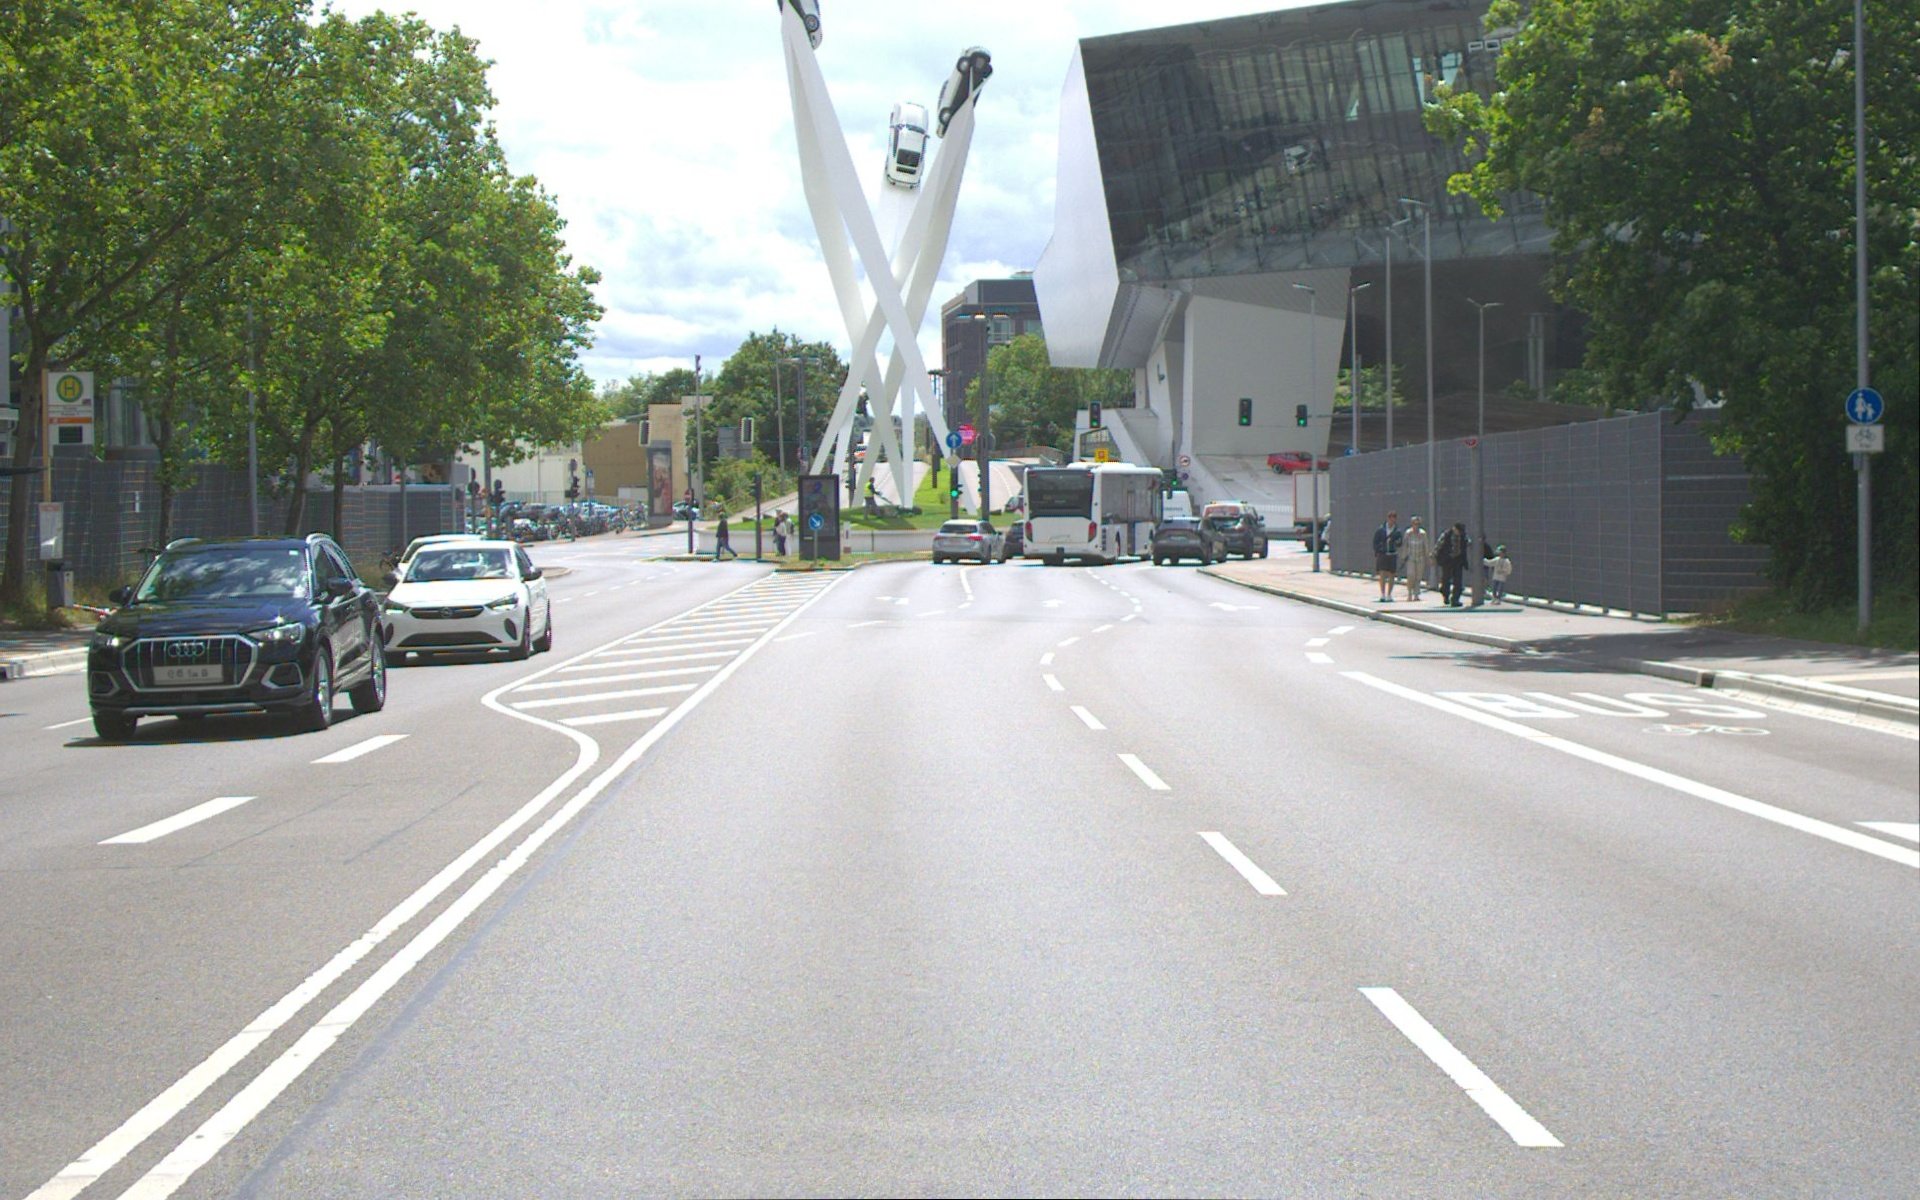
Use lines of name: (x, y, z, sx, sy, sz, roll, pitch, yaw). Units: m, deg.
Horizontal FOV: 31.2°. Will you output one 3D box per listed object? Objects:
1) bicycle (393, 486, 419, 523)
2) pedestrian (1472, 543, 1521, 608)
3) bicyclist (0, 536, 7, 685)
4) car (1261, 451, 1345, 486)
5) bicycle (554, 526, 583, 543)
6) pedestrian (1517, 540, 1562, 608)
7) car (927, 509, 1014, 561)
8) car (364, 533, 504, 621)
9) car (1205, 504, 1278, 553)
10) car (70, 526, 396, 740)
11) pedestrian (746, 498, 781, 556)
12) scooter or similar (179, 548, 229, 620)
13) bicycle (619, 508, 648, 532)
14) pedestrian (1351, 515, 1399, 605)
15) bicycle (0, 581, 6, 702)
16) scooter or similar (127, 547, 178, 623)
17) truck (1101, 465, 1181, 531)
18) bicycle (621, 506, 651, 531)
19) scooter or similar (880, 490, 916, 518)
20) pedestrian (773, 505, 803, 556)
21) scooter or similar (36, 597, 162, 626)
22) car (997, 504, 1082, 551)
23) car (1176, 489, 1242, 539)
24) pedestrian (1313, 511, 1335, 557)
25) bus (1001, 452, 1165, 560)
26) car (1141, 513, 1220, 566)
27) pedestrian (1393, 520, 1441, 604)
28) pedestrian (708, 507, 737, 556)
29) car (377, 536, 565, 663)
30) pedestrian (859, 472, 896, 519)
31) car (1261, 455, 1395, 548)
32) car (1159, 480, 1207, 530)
bicycle: (-15.118, -2.602, 93.839, 0.296, 1.002, 1.251, 1, 1, 10)
pedestrian: (9.662, -0.445, 61.906, 0.757, 1.145, 0.971, 1, 1, 3)
bicyclist: (-10.119, 0.083, 34.125, 0.955, 1.592, 1.223, -2, 1, -3)
car: (19.446, -7.485, 195.242, 1.995, 1.390, 4.511, -7, 12, -43)
bicycle: (-21.061, -3.519, 184.853, 0.492, 0.863, 1.607, 1, 4, 41)
pedestrian: (10.464, -0.475, 62.068, 0.714, 1.202, 0.598, 1, 0, 4)
car: (0.352, -2.092, 111.762, 1.995, 1.631, 3.998, 1, 1, 13)
car: (-9.859, -0.465, 64.712, 1.878, 1.500, 4.191, -2, 2, 1)
car: (9.882, -2.493, 120.563, 1.995, 1.631, 3.998, 1, 1, 13)
car: (-5.952, 0.220, 28.632, 1.740, 1.575, 4.267, -2, 1, 0)
pedestrian: (-7.029, -2.592, 122.866, 0.953, 2.048, 0.950, 1, 1, 19)
scooter or similar: (-13.667, -0.292, 62.165, 0.523, 1.230, 1.318, 3, 2, 2)
bicycle: (-18.171, -4.433, 191.340, 1.605, 1.312, 0.493, 1, 0, -1)
pedestrian: (8.001, -0.769, 66.296, 0.794, 1.715, 0.732, 1, 0, -1)
bicycle: (-10.119, 0.446, 33.959, 0.736, 1.230, 2.474, -2, 1, -2)
scooter or similar: (-13.718, -0.264, 58.430, 0.523, 1.230, 1.318, 3, 2, -1)
truck: (7.263, -4.051, 137.513, 2.208, 2.507, 5.129, 1, 1, 15)
bicycle: (-18.189, -4.587, 192.843, 1.605, 1.378, 0.493, 1, 0, -1)
scooter or similar: (-2.539, -3.956, 141.288, 1.400, 1.022, 0.550, -3, 7, -8)
pedestrian: (-6.064, -2.440, 121.275, 0.863, 1.767, 1.036, 1, 1, -14)
scooter or similar: (-14.263, 0.186, 56.953, 1.363, 0.378, 1.487, 4, 2, 35)
car: (2.889, -2.609, 123.944, 1.995, 1.631, 3.996, 1, 1, 18)
car: (9.961, -3.427, 137.272, 1.995, 1.926, 4.238, 1, 1, 13)
pedestrian: (12.794, -2.323, 120.779, 0.660, 1.602, 0.822, 1, 0, 11)
bus: (4.270, -3.071, 115.664, 3.074, 3.350, 12.215, 1, 1, 14)
car: (7.283, -2.010, 113.281, 1.995, 1.631, 3.998, 1, 2, 13)
pedestrian: (8.807, -0.733, 66.293, 0.794, 1.591, 0.732, 1, 0, -1)
pedestrian: (-8.562, -2.461, 123.948, 0.863, 1.767, 1.036, 1, 1, -14)
car: (-5.975, -0.042, 42.405, 1.691, 1.410, 4.146, -2, 1, 0)
pedestrian: (-3.371, -4.281, 141.047, 1.281, 1.810, 0.987, -4, 5, -10)
car: (14.813, -3.890, 137.557, 3.338, 3.492, 9.333, 1, 1, 19)
car: (9.983, -4.238, 153.971, 1.994, 2.163, 4.655, 1, 1, 2)
